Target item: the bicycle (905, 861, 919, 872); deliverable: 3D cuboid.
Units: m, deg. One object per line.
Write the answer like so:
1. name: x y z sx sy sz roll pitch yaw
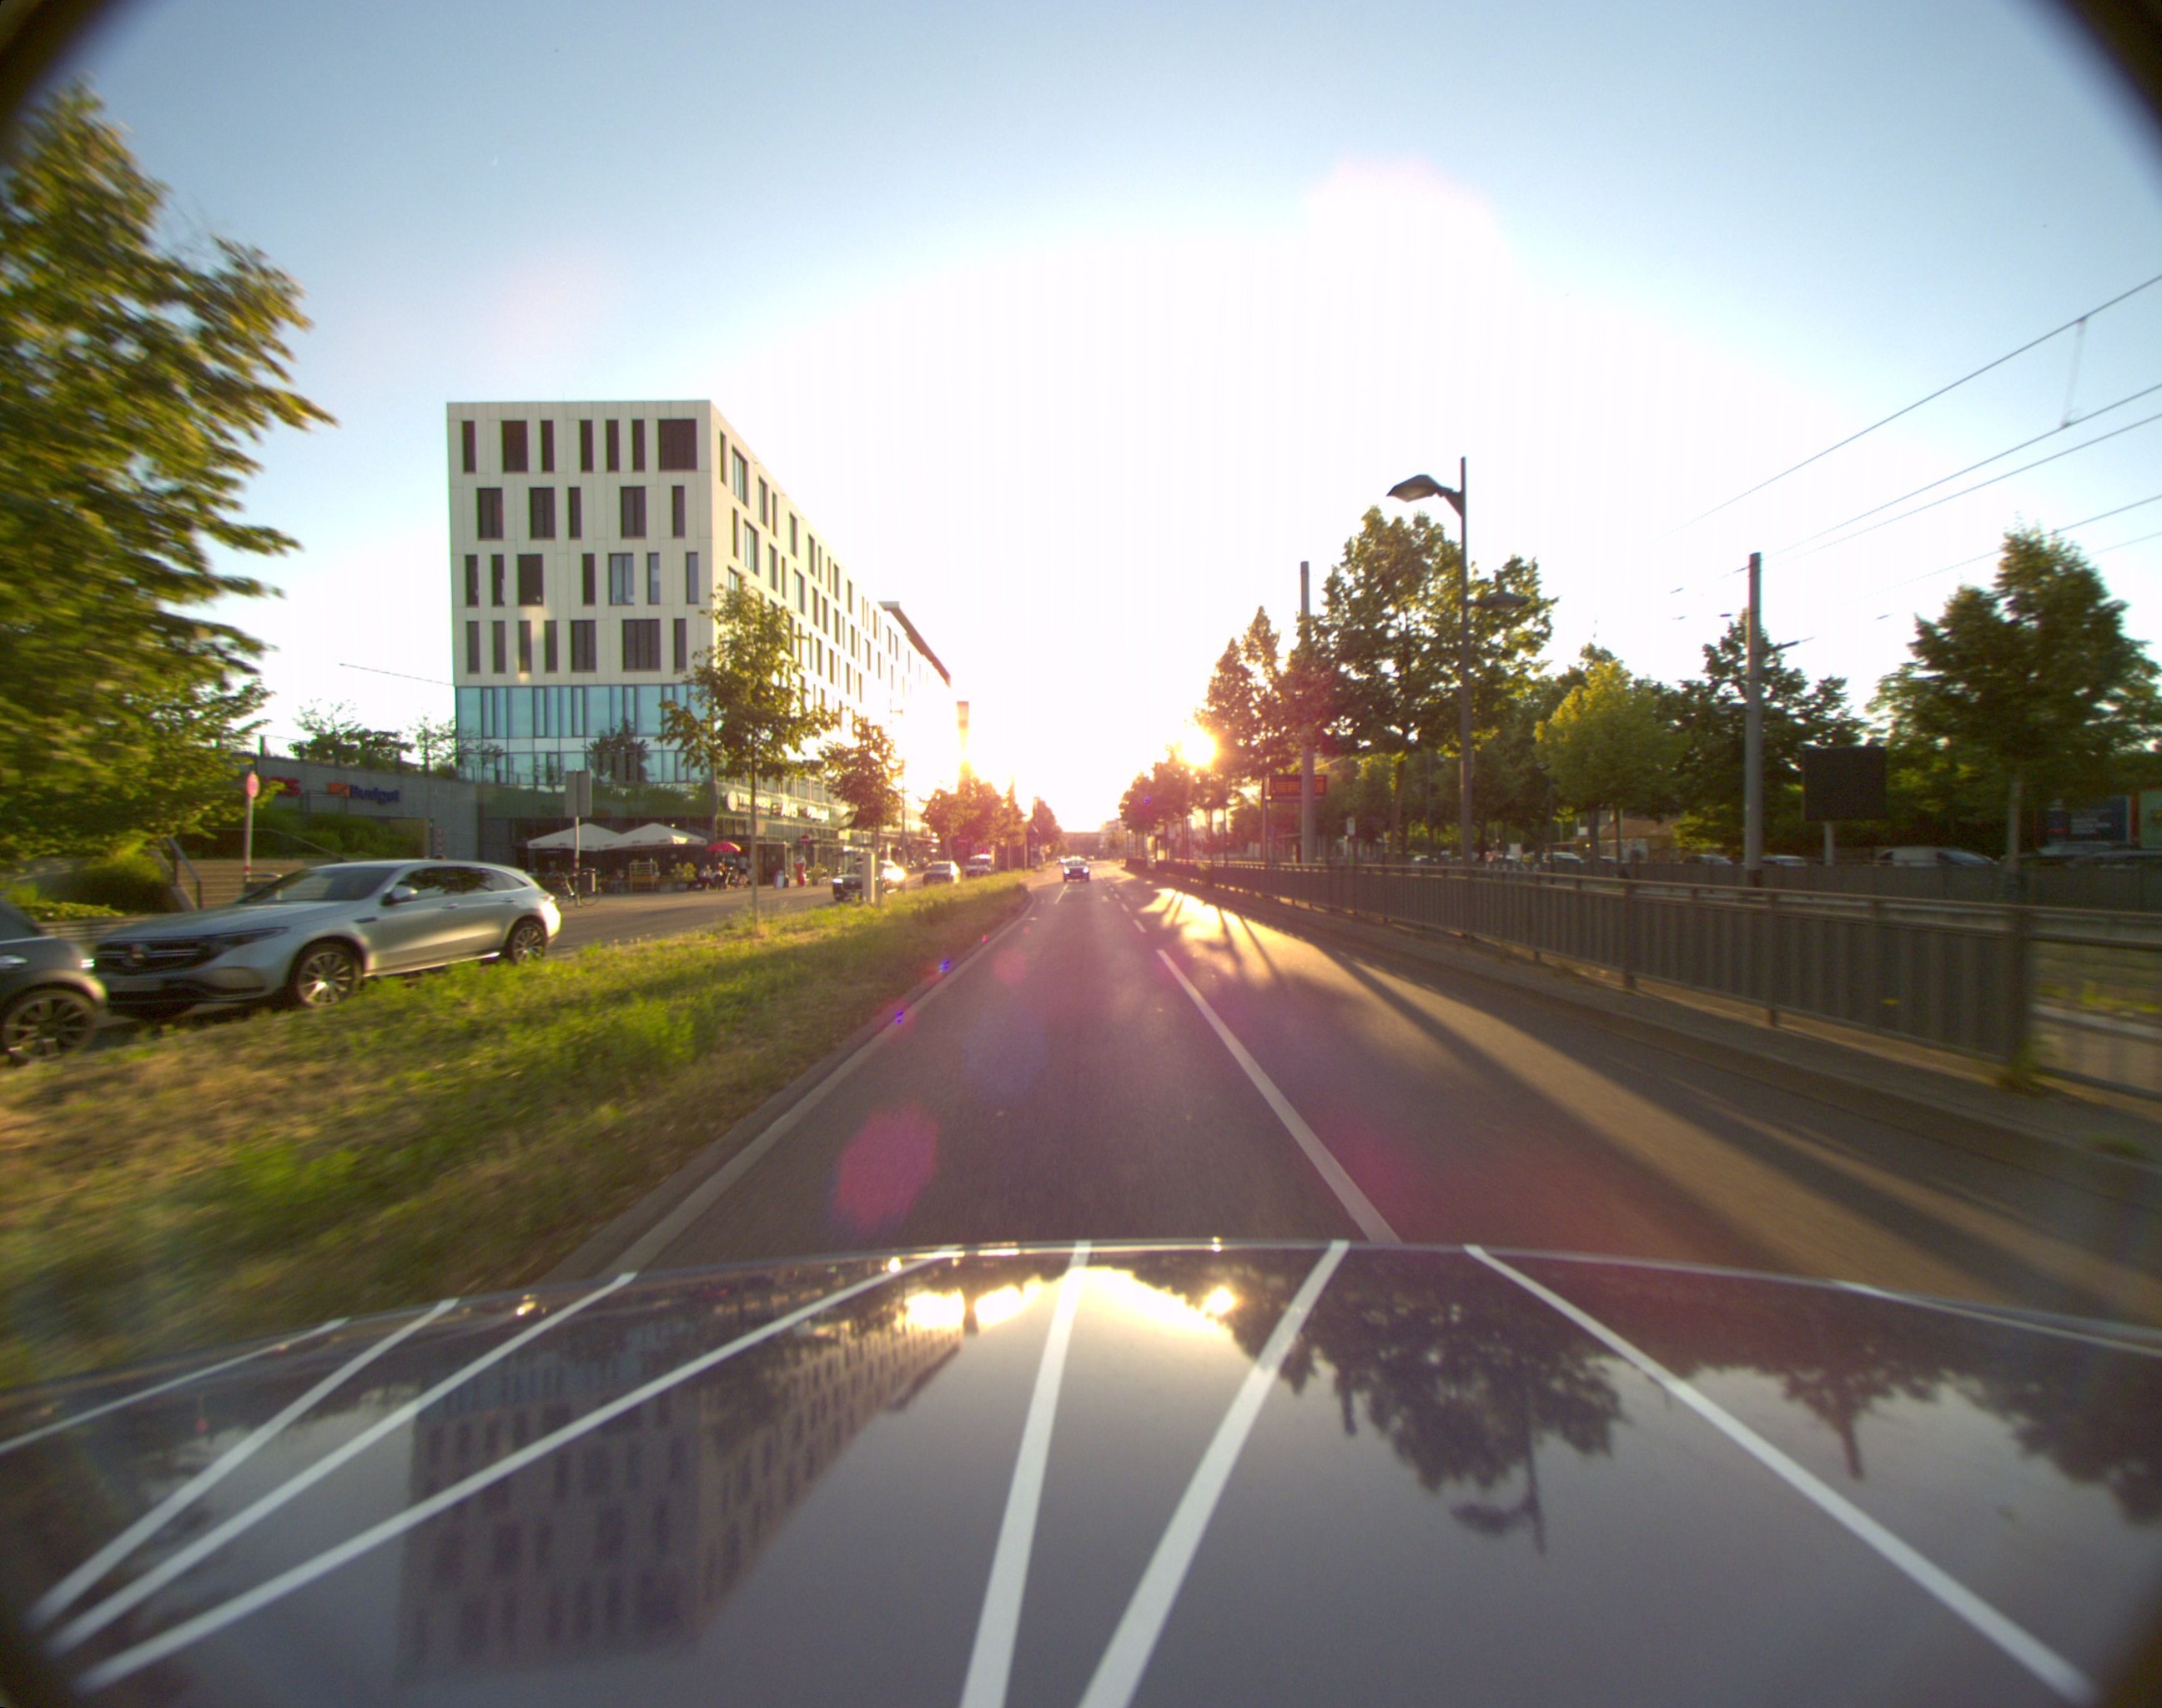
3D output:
1. bicycle: -15.360 1.135 69.199 0.530 1.034 1.878 1 0 12

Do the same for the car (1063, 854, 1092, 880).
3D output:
1. car: -0.206 0.813 50.181 1.828 1.625 4.000 -1 0 0

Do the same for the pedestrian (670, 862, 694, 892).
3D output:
1. pedestrian: -18.555 1.078 35.330 0.745 1.360 0.770 -1 1 -11

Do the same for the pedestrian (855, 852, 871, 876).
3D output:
1. pedestrian: -17.699 0.817 61.661 1.029 1.872 0.947 -1 1 -1

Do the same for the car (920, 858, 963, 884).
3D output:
1. car: -8.474 1.010 46.469 1.813 1.492 4.479 -1 0 0

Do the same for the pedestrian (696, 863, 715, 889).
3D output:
1. pedestrian: -18.494 1.077 37.402 0.685 1.283 0.628 1 1 -13

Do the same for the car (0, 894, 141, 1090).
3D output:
1. car: -8.795 1.063 4.373 1.754 1.390 4.000 -2 0 0

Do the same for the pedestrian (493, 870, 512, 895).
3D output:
1. pedestrian: -27.964 1.363 36.710 0.475 1.208 0.535 -1 1 6

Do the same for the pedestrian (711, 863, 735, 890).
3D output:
1. pedestrian: -17.576 1.120 37.318 0.776 1.283 0.685 1 1 7

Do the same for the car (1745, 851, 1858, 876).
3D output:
1. car: 36.717 0.447 38.889 1.998 1.194 4.089 -1 0 2

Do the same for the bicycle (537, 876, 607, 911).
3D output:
1. bicycle: -16.500 1.257 24.684 0.544 1.037 1.915 0 0 20

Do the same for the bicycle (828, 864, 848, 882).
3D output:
1. bicycle: -15.691 1.214 49.126 0.685 1.057 2.073 1 0 -2

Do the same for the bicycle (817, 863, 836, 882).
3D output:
1. bicycle: -15.661 1.135 46.746 0.641 1.126 1.873 1 0 -3

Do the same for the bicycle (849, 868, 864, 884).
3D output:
1. bicycle: -15.154 1.457 51.401 0.598 1.034 2.072 1 0 -6

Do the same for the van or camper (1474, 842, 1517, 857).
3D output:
1. van or camper: 59.312 -0.630 108.762 4.881 2.002 2.002 -2 0 11

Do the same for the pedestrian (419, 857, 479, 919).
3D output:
1. pedestrian: -17.226 0.907 20.737 0.696 1.645 1.078 -1 0 0

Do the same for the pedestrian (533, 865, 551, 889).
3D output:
1. pedestrian: -26.698 1.138 37.641 0.475 1.208 0.535 -1 1 6

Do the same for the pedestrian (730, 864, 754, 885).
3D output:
1. pedestrian: -18.288 1.111 41.053 0.975 1.119 0.685 1 1 1

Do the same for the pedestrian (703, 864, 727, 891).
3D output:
1. pedestrian: -17.560 1.124 36.499 0.782 1.283 0.685 1 1 7

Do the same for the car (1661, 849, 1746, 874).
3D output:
1. car: 37.265 0.445 45.629 1.998 1.399 4.001 -1 0 3

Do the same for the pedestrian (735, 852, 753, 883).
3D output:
1. pedestrian: -19.519 0.784 44.030 0.661 1.749 0.686 1 1 18

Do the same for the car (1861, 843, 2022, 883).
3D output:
1. car: 36.142 0.354 32.117 1.998 1.576 4.297 -1 0 2

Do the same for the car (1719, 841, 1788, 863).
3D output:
1. car: 47.193 -0.151 53.407 1.827 1.491 3.646 -1 0 6

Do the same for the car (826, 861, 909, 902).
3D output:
1. car: -8.783 1.094 31.792 1.924 1.492 5.411 -1 0 0

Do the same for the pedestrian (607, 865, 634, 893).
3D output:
1. pedestrian: -21.310 1.151 35.151 0.745 1.258 0.771 -1 1 1

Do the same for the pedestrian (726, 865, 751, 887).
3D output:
1. pedestrian: -18.068 1.164 40.084 0.975 1.119 0.685 1 1 1

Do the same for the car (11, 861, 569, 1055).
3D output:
1. car: -8.782 0.969 9.264 1.813 1.622 4.675 -3 0 0

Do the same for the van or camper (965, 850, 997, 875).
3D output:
1. van or camper: -8.360 0.706 63.961 1.963 1.908 4.830 -2 0 1

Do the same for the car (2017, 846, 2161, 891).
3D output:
1. car: 35.518 0.450 26.062 1.998 1.440 4.000 -1 0 2

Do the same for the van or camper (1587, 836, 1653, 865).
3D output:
1. van or camper: 48.340 -0.312 68.294 2.397 2.548 5.635 -1 0 6

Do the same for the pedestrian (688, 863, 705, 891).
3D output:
1. pedestrian: -18.532 1.104 36.579 0.664 1.283 0.683 1 1 -32

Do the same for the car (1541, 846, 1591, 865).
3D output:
1. car: 41.411 0.133 64.934 1.998 1.521 4.002 -1 0 5

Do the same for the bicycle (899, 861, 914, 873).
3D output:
1. bicycle: -15.247 1.144 66.325 0.530 1.034 1.919 1 0 12
